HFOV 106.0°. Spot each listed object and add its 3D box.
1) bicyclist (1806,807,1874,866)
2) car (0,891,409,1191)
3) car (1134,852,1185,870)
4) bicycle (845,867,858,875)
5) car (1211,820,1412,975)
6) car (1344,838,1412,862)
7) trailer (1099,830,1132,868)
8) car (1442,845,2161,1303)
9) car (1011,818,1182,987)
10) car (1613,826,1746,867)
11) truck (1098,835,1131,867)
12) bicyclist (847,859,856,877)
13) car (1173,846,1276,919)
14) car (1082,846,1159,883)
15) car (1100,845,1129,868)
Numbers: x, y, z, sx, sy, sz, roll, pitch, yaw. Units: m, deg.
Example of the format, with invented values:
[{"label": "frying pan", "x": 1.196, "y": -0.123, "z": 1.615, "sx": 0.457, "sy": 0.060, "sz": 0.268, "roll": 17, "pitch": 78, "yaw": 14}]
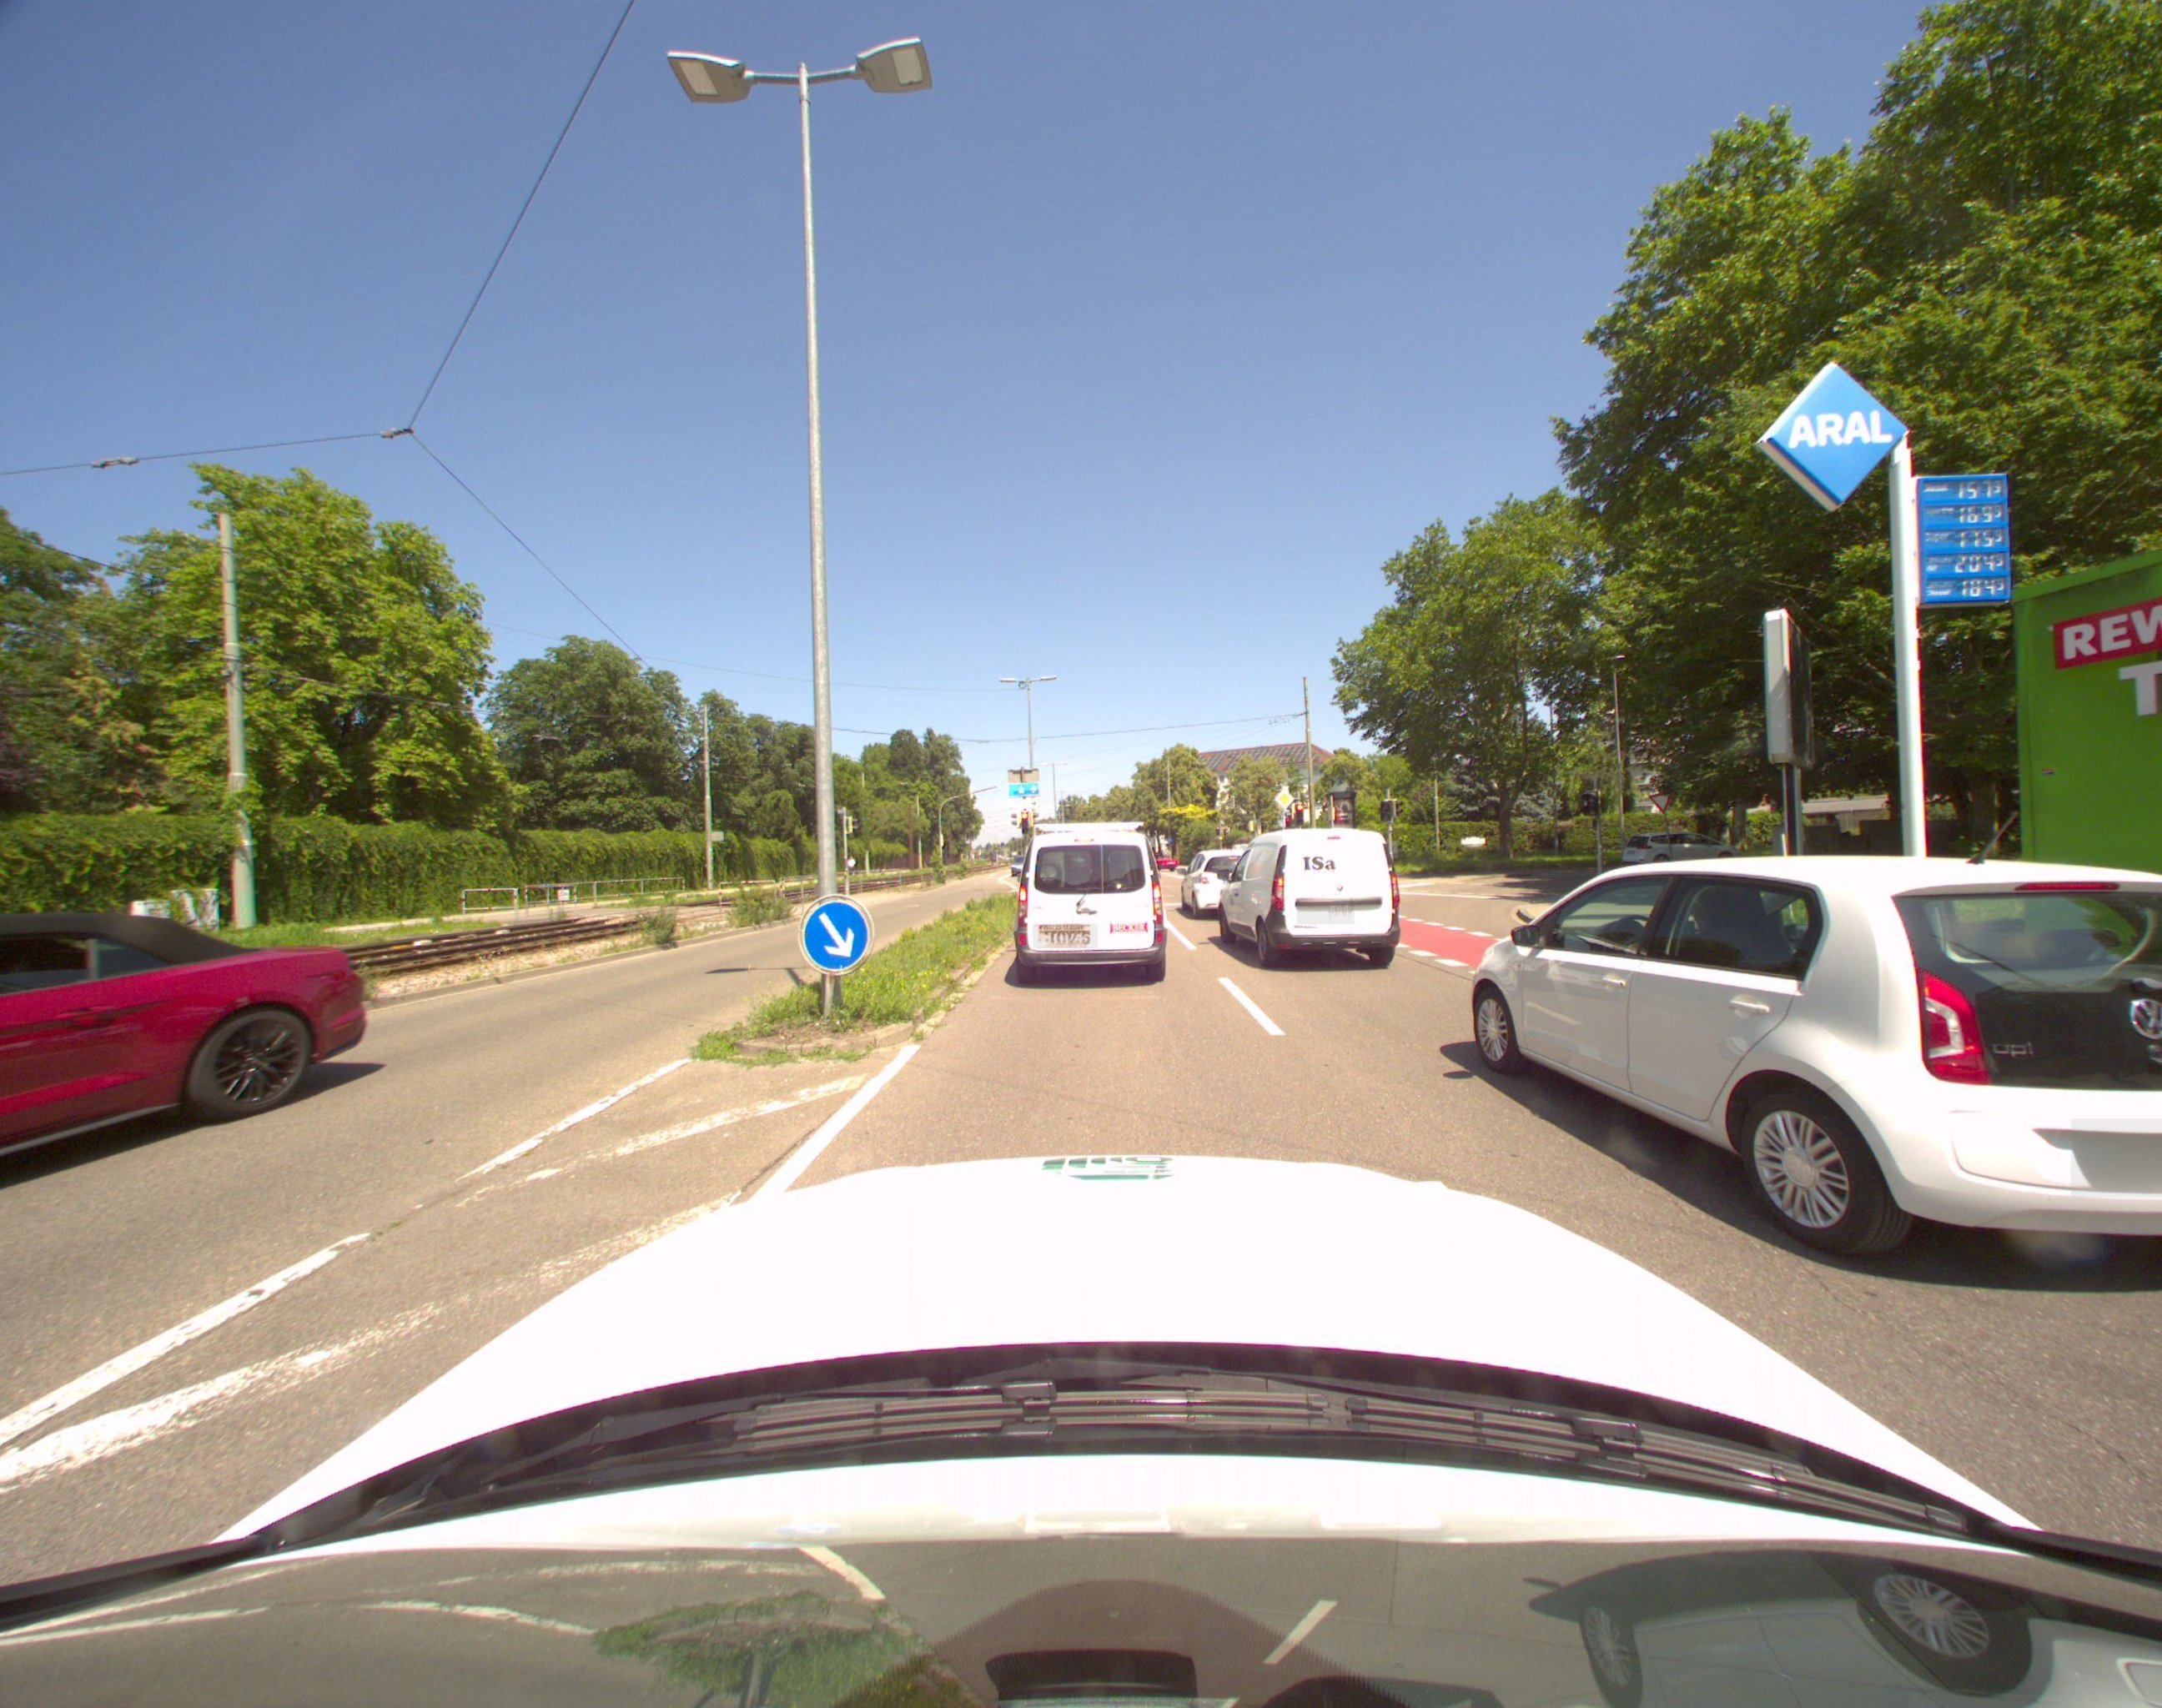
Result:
[{"label": "bicyclist", "x": 23.108, "y": -0.514, "z": 24.809, "sx": 0.954, "sy": 1.739, "sz": 1.128, "roll": -2, "pitch": 0, "yaw": -9}, {"label": "car", "x": -6.312, "y": 1.007, "z": 4.082, "sx": 1.976, "sy": 1.358, "sz": 4.540, "roll": -2, "pitch": 0, "yaw": 2}, {"label": "car", "x": 5.937, "y": 0.544, "z": 62.053, "sx": 1.869, "sy": 1.222, "sz": 3.959, "roll": -2, "pitch": 0, "yaw": -32}, {"label": "bicycle", "x": -18.998, "y": 1.387, "z": 67.488, "sx": 0.559, "sy": 0.647, "sz": 1.720, "roll": -2, "pitch": 0, "yaw": 2}, {"label": "car", "x": 3.131, "y": 0.519, "z": 11.923, "sx": 1.705, "sy": 1.830, "sz": 4.012, "roll": -2, "pitch": 0, "yaw": -1}, {"label": "car", "x": 19.928, "y": -0.271, "z": 54.845, "sx": 3.964, "sy": 1.508, "sz": 2.005, "roll": -2, "pitch": 0, "yaw": 8}, {"label": "trailer", "x": 3.897, "y": -0.586, "z": 93.445, "sx": 3.515, "sy": 4.050, "sz": 8.979, "roll": -2, "pitch": 0, "yaw": 1}, {"label": "car", "x": 3.487, "y": 0.704, "z": 4.380, "sx": 1.601, "sy": 1.451, "sz": 3.522, "roll": -1, "pitch": 0, "yaw": 2}, {"label": "car", "x": 0.177, "y": 0.530, "z": 10.935, "sx": 1.861, "sy": 1.836, "sz": 3.848, "roll": -1, "pitch": 0, "yaw": 0}, {"label": "car", "x": 26.861, "y": -0.336, "z": 36.706, "sx": 4.419, "sy": 1.617, "sz": 2.003, "roll": -2, "pitch": 0, "yaw": 5}, {"label": "truck", "x": 4.111, "y": -0.356, "z": 102.324, "sx": 3.565, "sy": 3.632, "sz": 8.805, "roll": -2, "pitch": 0, "yaw": -1}, {"label": "bicyclist", "x": -19.005, "y": 1.155, "z": 67.508, "sx": 0.556, "sy": 1.478, "sz": 0.562, "roll": -2, "pitch": 0, "yaw": 1}, {"label": "car", "x": 3.298, "y": 0.604, "z": 19.395, "sx": 1.750, "sy": 1.486, "sz": 4.000, "roll": -2, "pitch": 0, "yaw": 1}, {"label": "car", "x": 2.103, "y": 0.591, "z": 44.348, "sx": 2.010, "sy": 1.860, "sz": 3.953, "roll": -2, "pitch": 0, "yaw": -39}, {"label": "car", "x": 3.170, "y": 0.240, "z": 77.118, "sx": 1.993, "sy": 2.013, "sz": 3.988, "roll": -2, "pitch": 0, "yaw": -9}]
